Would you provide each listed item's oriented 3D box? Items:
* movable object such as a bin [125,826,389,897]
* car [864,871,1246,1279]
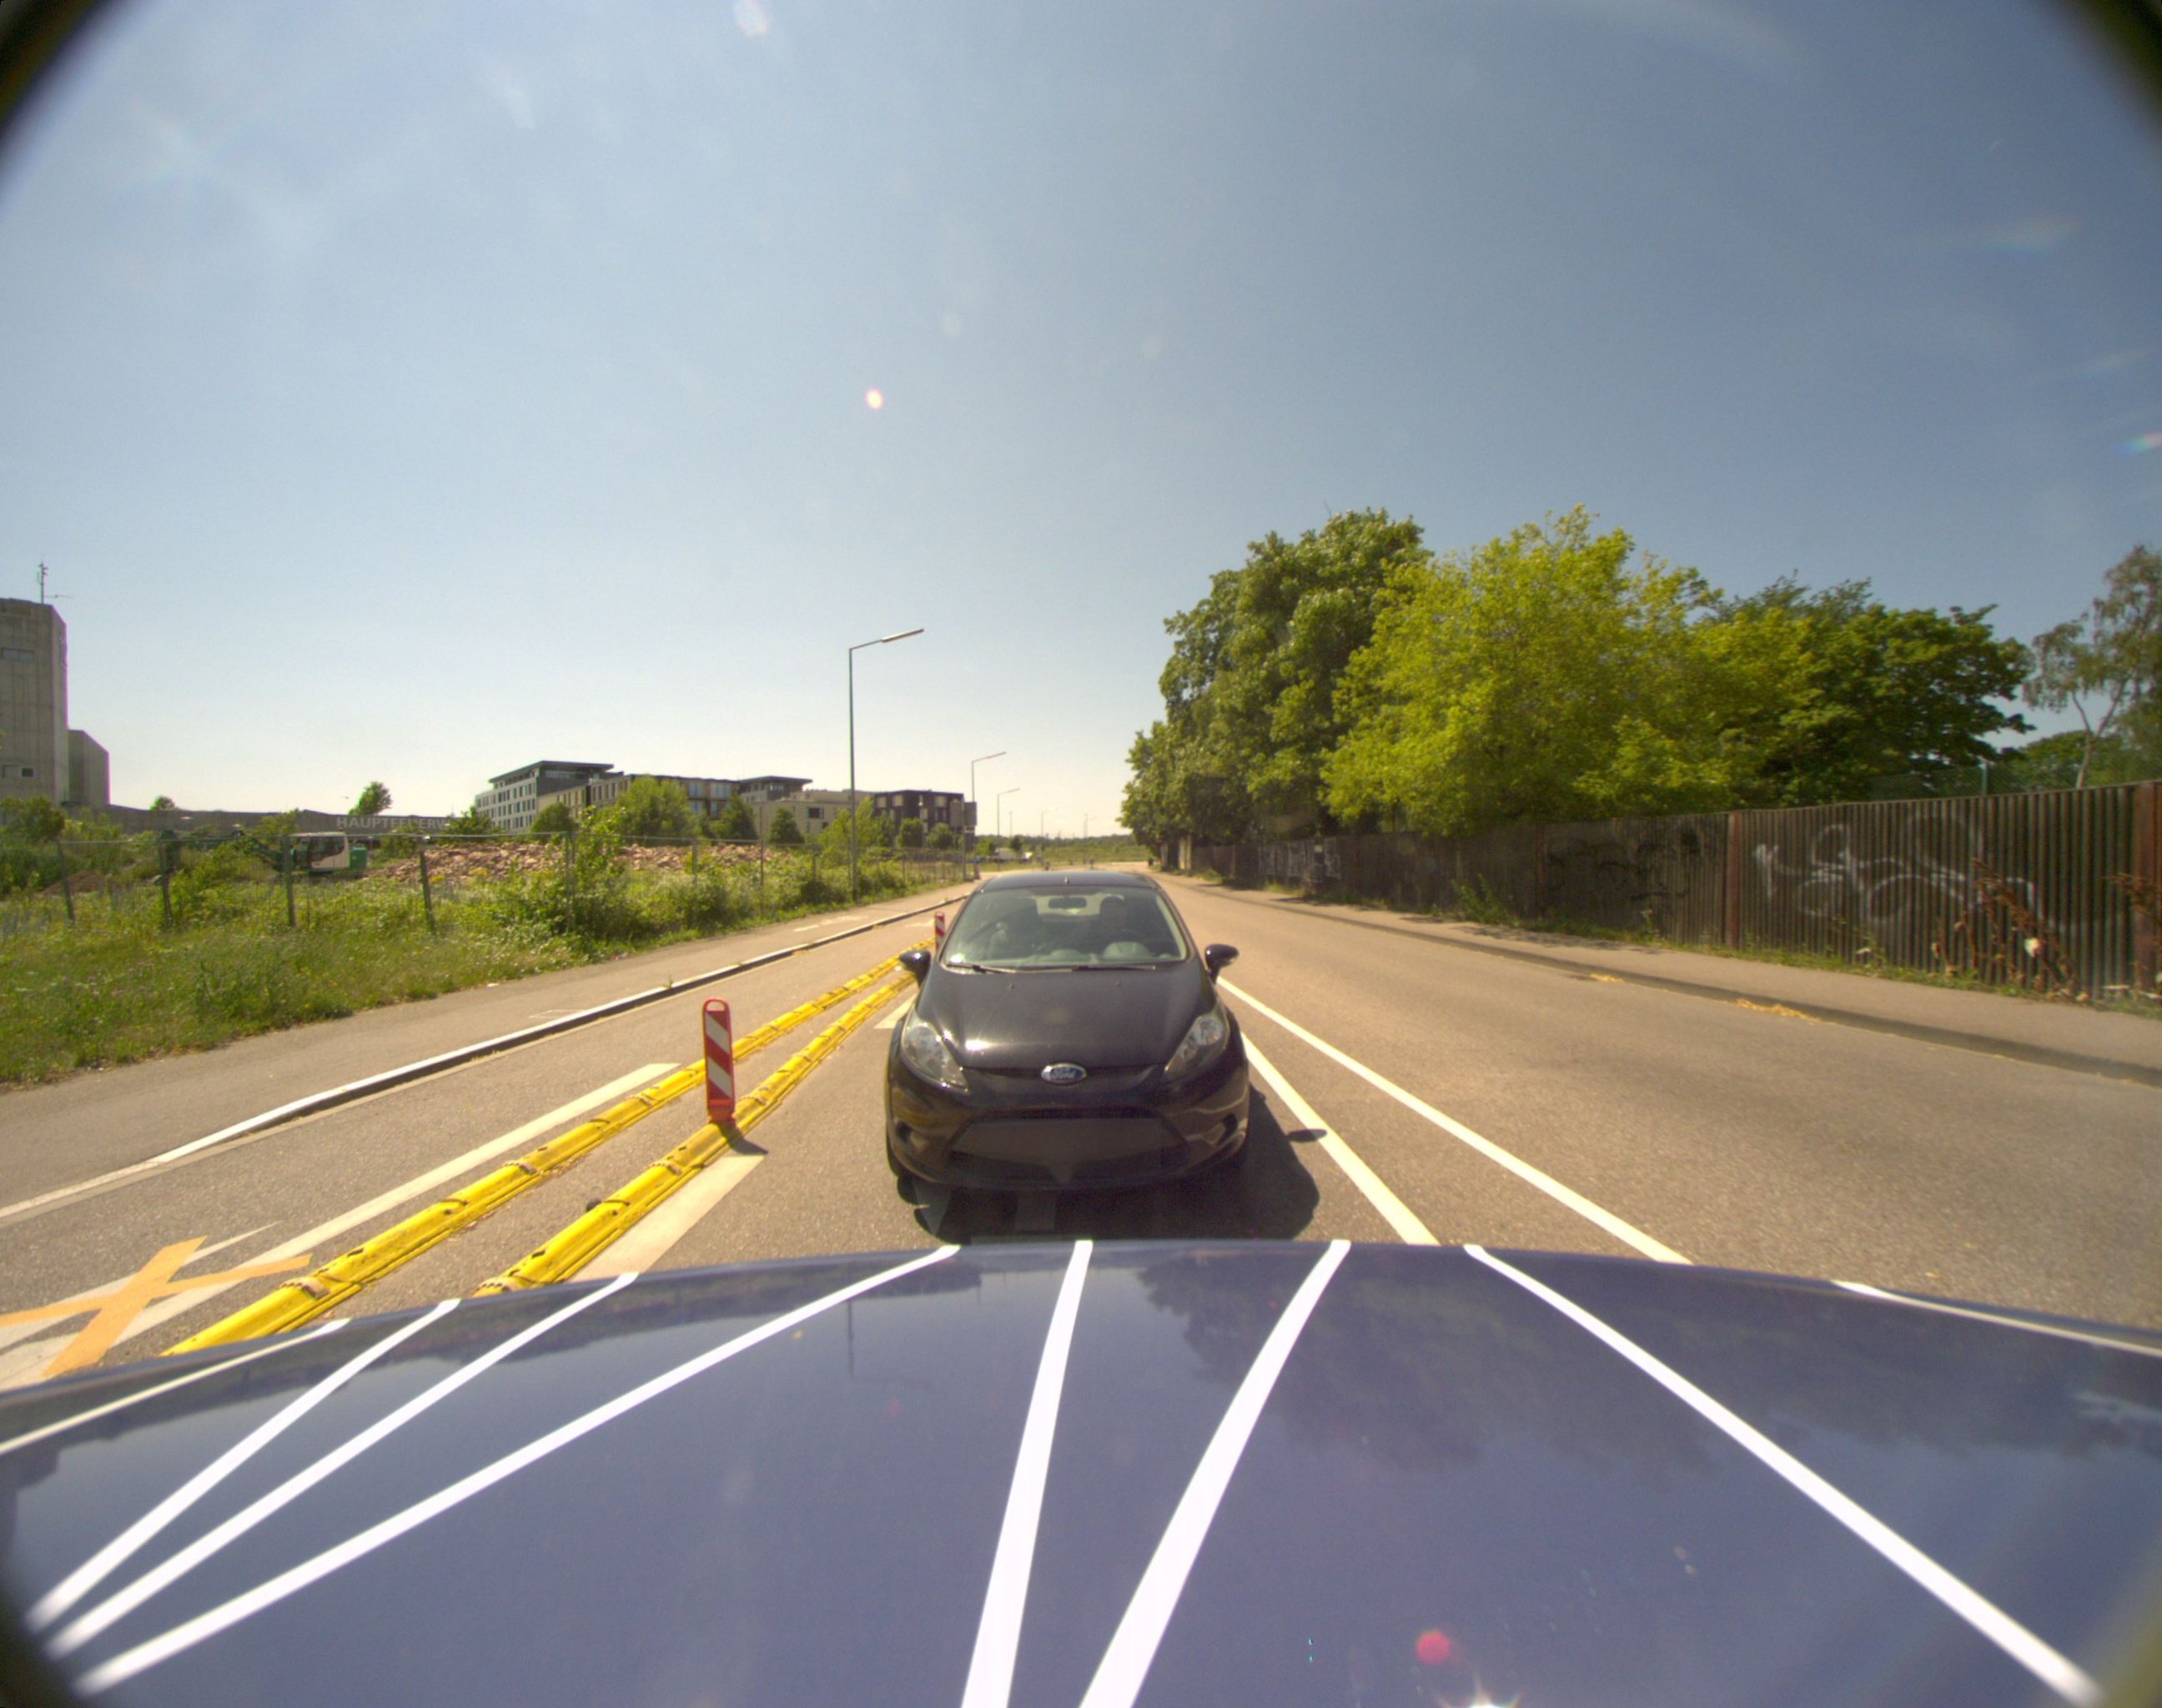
[{"bbox_3d":[-38.367,0.257,35.922,3.231,2.899,7.702,-2,1,15],"label":"movable object such as a bin"},{"bbox_3d":[-0.080,0.971,5.151,1.528,1.510,3.999,-2,1,1],"label":"car"}]
